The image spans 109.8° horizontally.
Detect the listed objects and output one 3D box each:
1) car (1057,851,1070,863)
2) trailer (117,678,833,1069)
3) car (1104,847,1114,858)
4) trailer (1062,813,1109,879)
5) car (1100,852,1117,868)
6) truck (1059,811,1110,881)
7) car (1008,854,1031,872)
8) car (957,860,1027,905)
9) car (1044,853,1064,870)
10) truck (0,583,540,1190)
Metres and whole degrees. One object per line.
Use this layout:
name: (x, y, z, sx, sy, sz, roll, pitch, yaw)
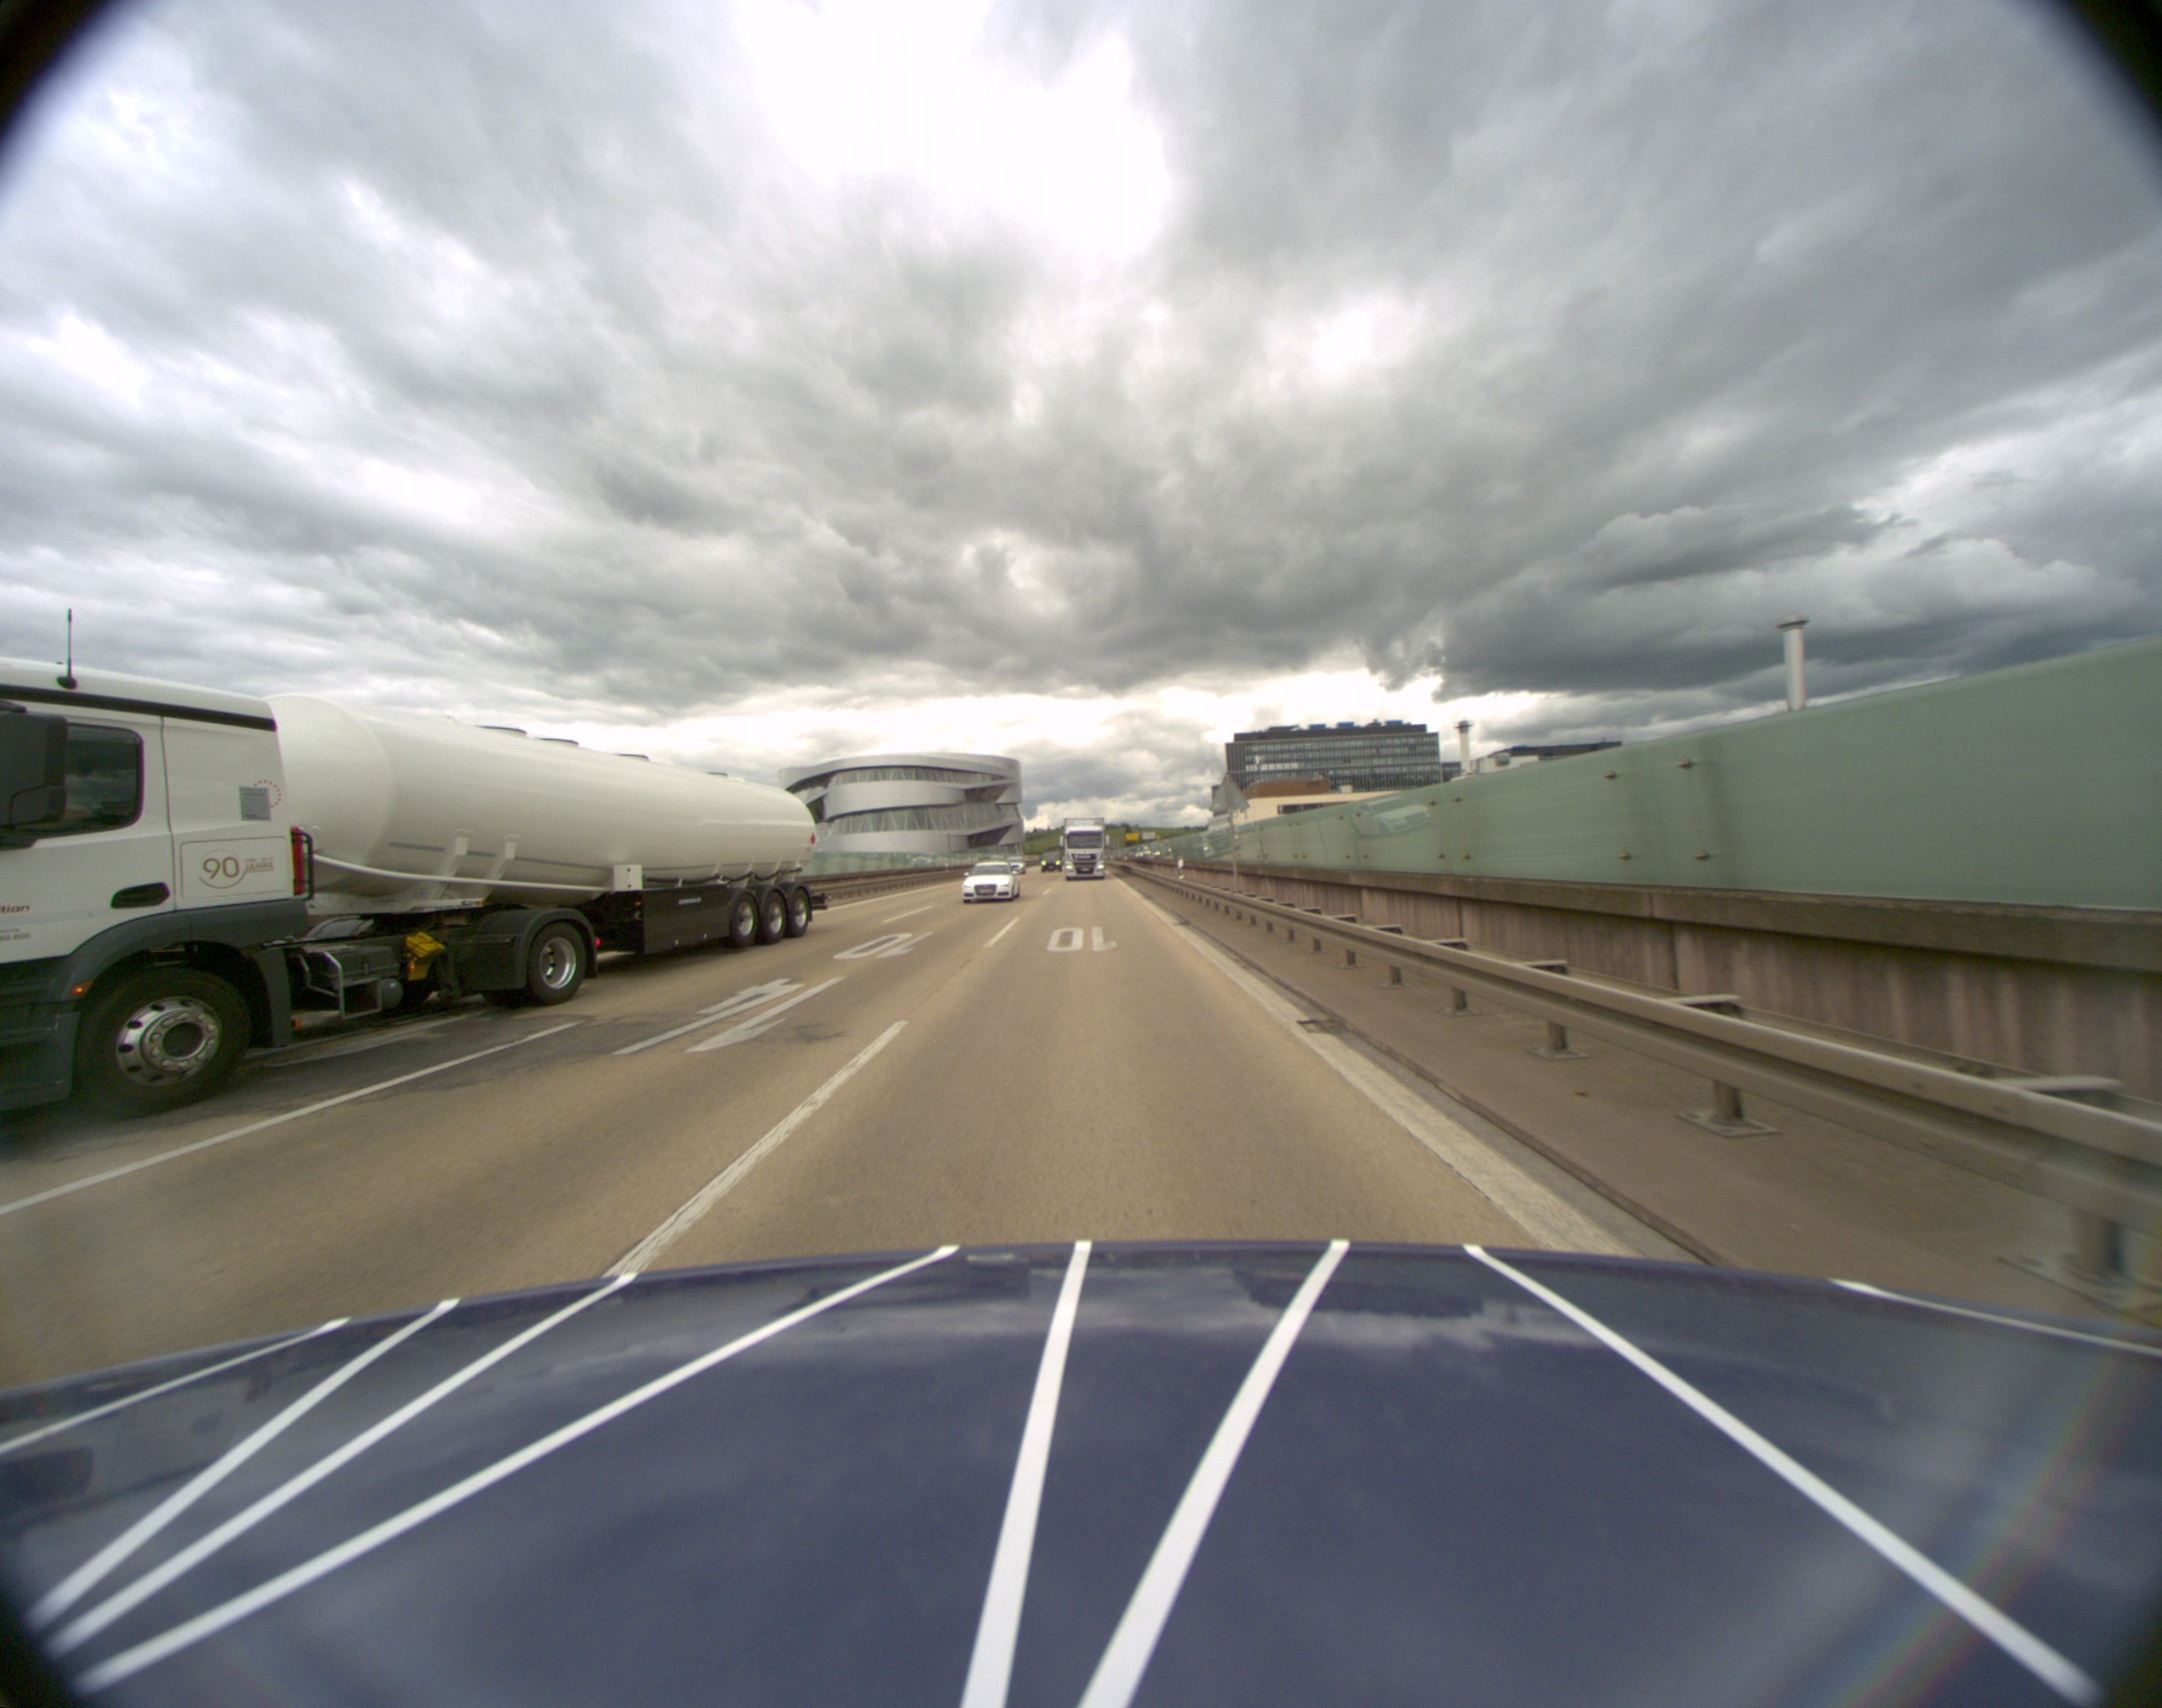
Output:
car: (-3.103, 0.558, 134.758, 1.998, 2.002, 4.000, -2, 0, 1)
trailer: (-7.416, 0.156, 12.623, 2.657, 3.523, 11.219, -2, 0, 1)
car: (6.645, -0.385, 179.520, 2.144, 2.494, 4.524, -2, 0, 1)
trailer: (0.374, -0.542, 53.757, 2.880, 4.104, 11.220, -2, 0, 1)
car: (3.559, 0.775, 98.156, 1.998, 2.002, 4.000, -2, 0, 0)
truck: (0.296, -0.491, 48.828, 2.946, 4.136, 6.291, -2, 0, 1)
car: (-5.907, 0.873, 72.957, 1.785, 1.624, 3.627, -2, 0, 1)
car: (-3.198, 0.998, 28.079, 1.848, 1.443, 3.933, -2, 0, 3)
car: (-2.778, 0.742, 77.720, 1.765, 1.624, 3.627, -2, 0, 1)
truck: (-7.515, 0.199, 6.113, 2.637, 3.494, 4.903, -2, 1, 1)
